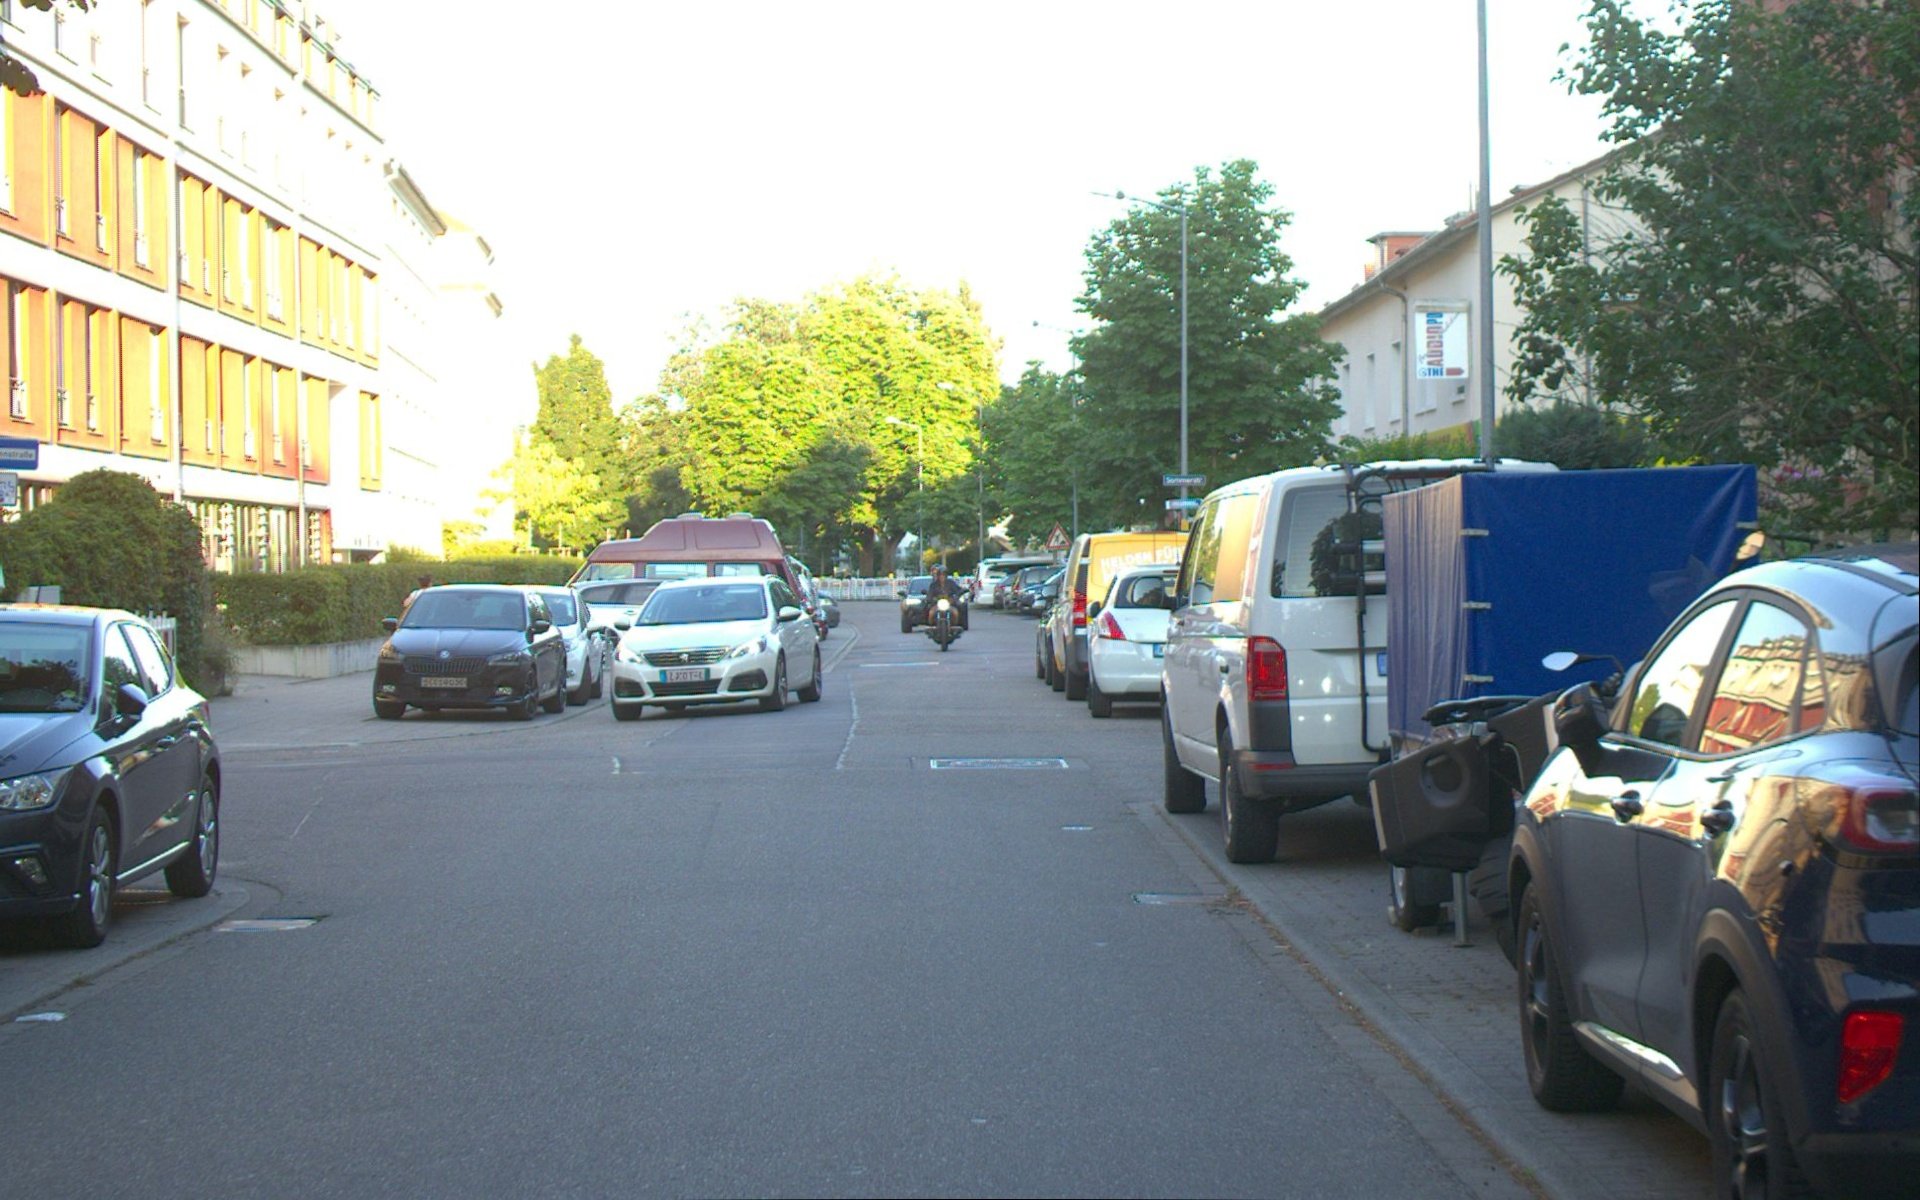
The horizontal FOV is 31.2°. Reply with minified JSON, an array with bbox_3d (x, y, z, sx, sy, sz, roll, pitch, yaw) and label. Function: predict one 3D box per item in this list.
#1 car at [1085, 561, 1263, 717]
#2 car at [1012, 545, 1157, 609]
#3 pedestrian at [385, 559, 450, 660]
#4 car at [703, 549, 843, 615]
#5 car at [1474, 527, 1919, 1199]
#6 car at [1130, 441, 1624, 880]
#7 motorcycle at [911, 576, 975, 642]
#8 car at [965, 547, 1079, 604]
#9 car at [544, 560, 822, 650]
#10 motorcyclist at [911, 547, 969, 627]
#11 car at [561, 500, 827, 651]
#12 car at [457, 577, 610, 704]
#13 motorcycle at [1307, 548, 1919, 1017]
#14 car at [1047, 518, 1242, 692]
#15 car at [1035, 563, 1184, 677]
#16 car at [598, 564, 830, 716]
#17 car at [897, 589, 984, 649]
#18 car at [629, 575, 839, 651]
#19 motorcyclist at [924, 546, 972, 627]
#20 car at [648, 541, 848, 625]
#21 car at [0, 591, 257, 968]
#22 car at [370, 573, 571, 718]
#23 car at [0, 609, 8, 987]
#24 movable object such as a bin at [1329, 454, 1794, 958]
[{"bbox_3d":[2.092,0.348,34.413,1.675,1.472,3.861,0,1,2],"label":"car"},{"bbox_3d":[4.057,-0.751,112.203,4.478,1.905,1.688,-3,0,-5],"label":"car"},{"bbox_3d":[-8.176,0.138,51.800,0.832,1.496,0.798,1,0,0],"label":"pedestrian"},{"bbox_3d":[-6.223,-0.595,114.589,4.533,2.127,2.000,1,0,0],"label":"car"},{"bbox_3d":[2.366,0.624,8.240,1.720,1.546,4.325,0,1,1],"label":"car"},{"bbox_3d":[2.140,0.263,19.252,1.861,2.032,5.545,-2,1,-2],"label":"car"},{"bbox_3d":[-0.324,0.172,67.237,0.846,1.205,2.074,-3,0,9],"label":"motorcycle"},{"bbox_3d":[2.305,-0.915,127.702,3.967,1.905,2.049,-3,0,-5],"label":"car"},{"bbox_3d":[-4.696,0.079,58.525,4.615,1.455,1.881,1,0,-3],"label":"car"},{"bbox_3d":[-0.392,-0.253,66.984,0.890,1.500,0.969,-3,0,9],"label":"motorcyclist"},{"bbox_3d":[-4.689,-0.433,61.099,4.511,2.575,2.000,1,0,1],"label":"car"},{"bbox_3d":[-5.368,0.474,43.640,1.650,1.525,4.018,0,1,-3],"label":"car"},{"bbox_3d":[2.442,0.595,12.311,2.088,1.477,1.133,-3,0,-34],"label":"motorcycle"},{"bbox_3d":[2.061,0.034,39.698,1.893,1.877,5.082,0,1,-1],"label":"car"},{"bbox_3d":[1.925,0.235,45.421,1.721,1.419,4.253,1,1,-1],"label":"car"},{"bbox_3d":[-2.613,0.385,37.556,1.815,1.518,4.597,-1,0,5],"label":"car"},{"bbox_3d":[-0.501,0.507,94.694,1.780,1.512,3.999,-2,0,8],"label":"car"},{"bbox_3d":[-4.657,0.257,71.281,4.209,1.485,1.850,1,0,0],"label":"car"},{"bbox_3d":[-0.240,-0.265,67.740,0.787,1.535,0.545,-3,0,9],"label":"motorcyclist"},{"bbox_3d":[-5.280,-0.436,86.082,4.850,2.014,1.906,1,0,0],"label":"car"},{"bbox_3d":[-4.432,0.704,15.784,1.674,1.456,4.464,0,1,-2],"label":"car"},{"bbox_3d":[-5.390,0.467,38.265,1.703,1.529,3.844,0,1,0],"label":"car"},{"bbox_3d":[-4.533,0.762,10.958,1.742,1.416,4.142,0,1,2],"label":"car"},{"bbox_3d":[2.426,0.396,14.311,1.412,1.871,2.325,-2,0,-1],"label":"movable object such as a bin"}]
